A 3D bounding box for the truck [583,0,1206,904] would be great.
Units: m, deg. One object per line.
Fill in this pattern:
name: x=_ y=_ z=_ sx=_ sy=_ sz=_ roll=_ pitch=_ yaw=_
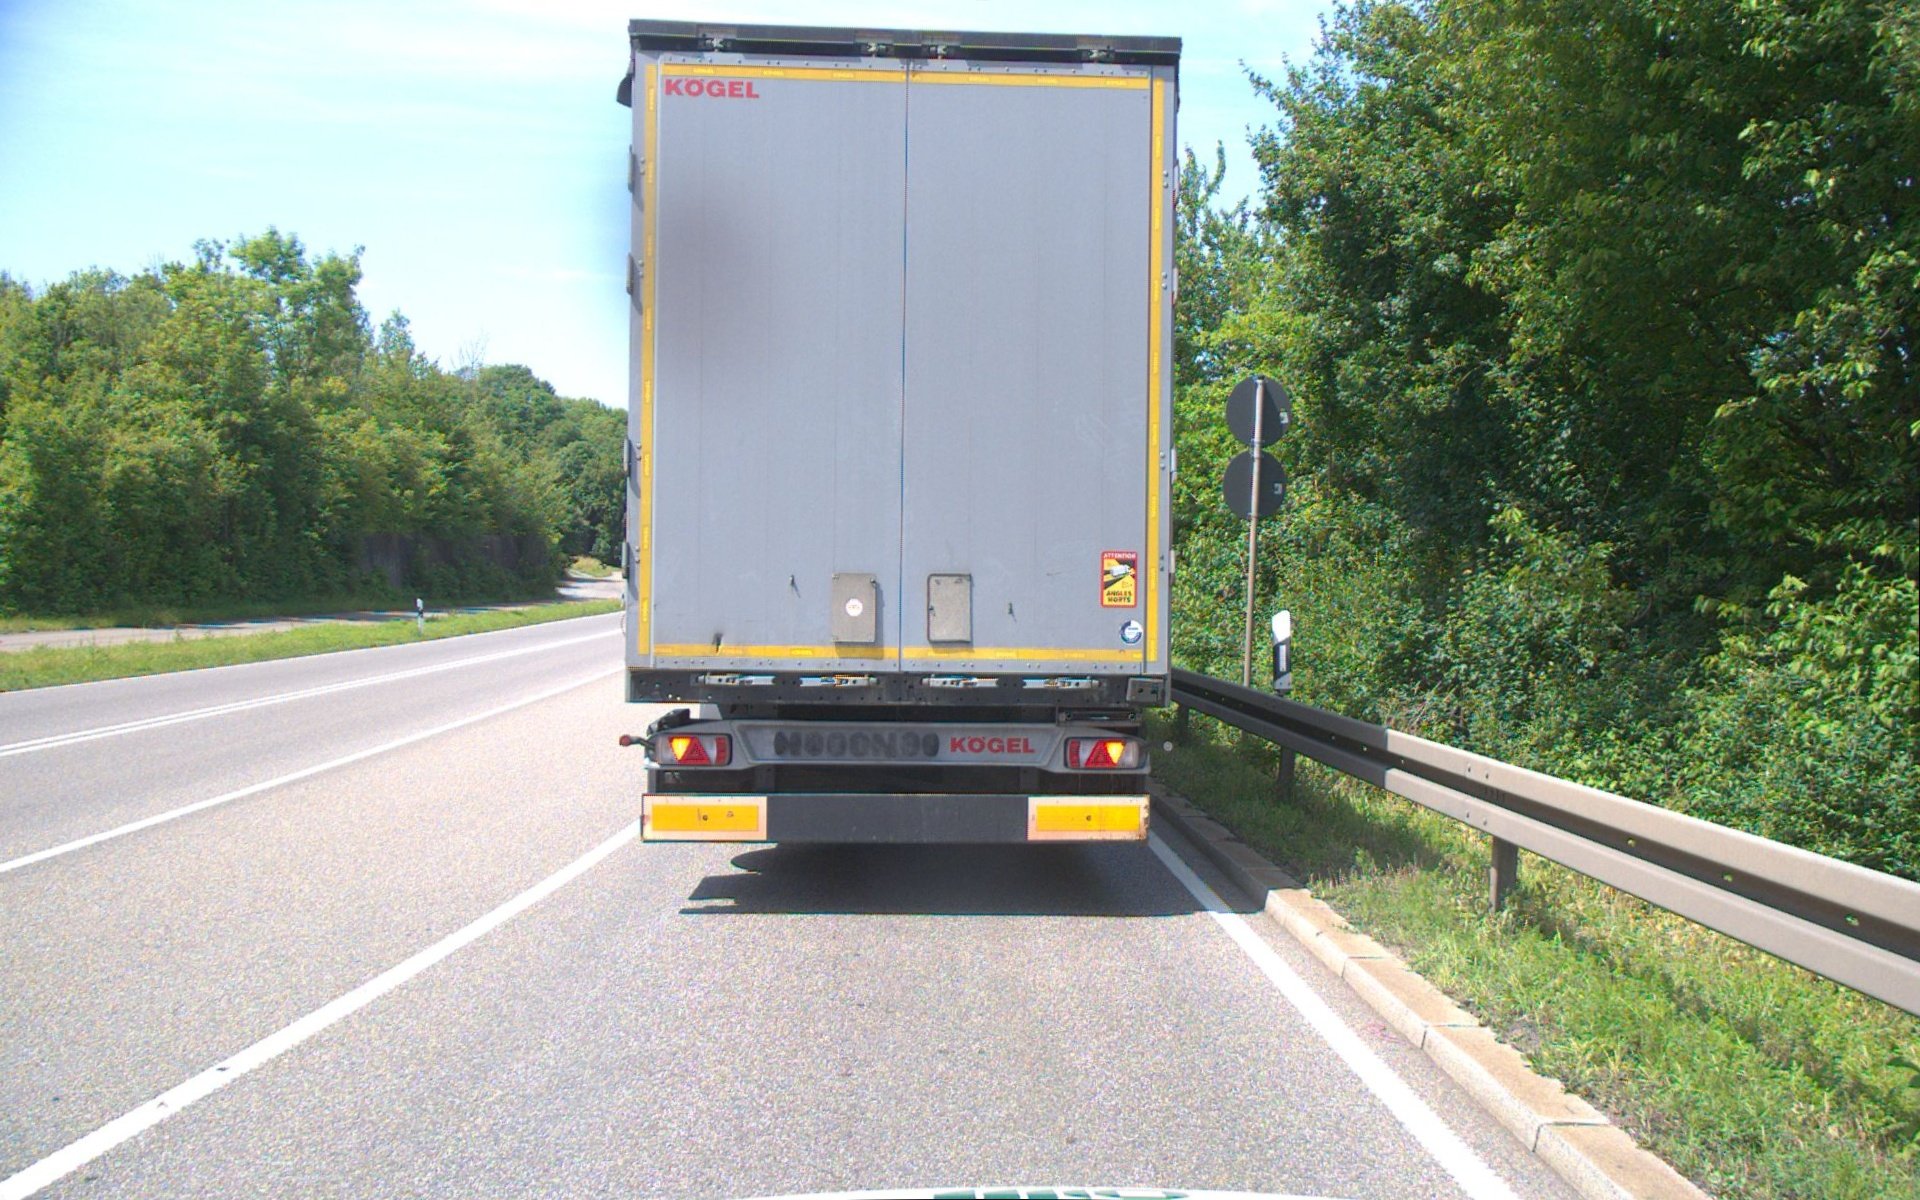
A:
truck: x=-0.439 y=-0.752 z=13.270 sx=2.701 sy=4.100 sz=11.920 roll=1 pitch=0 yaw=-2
